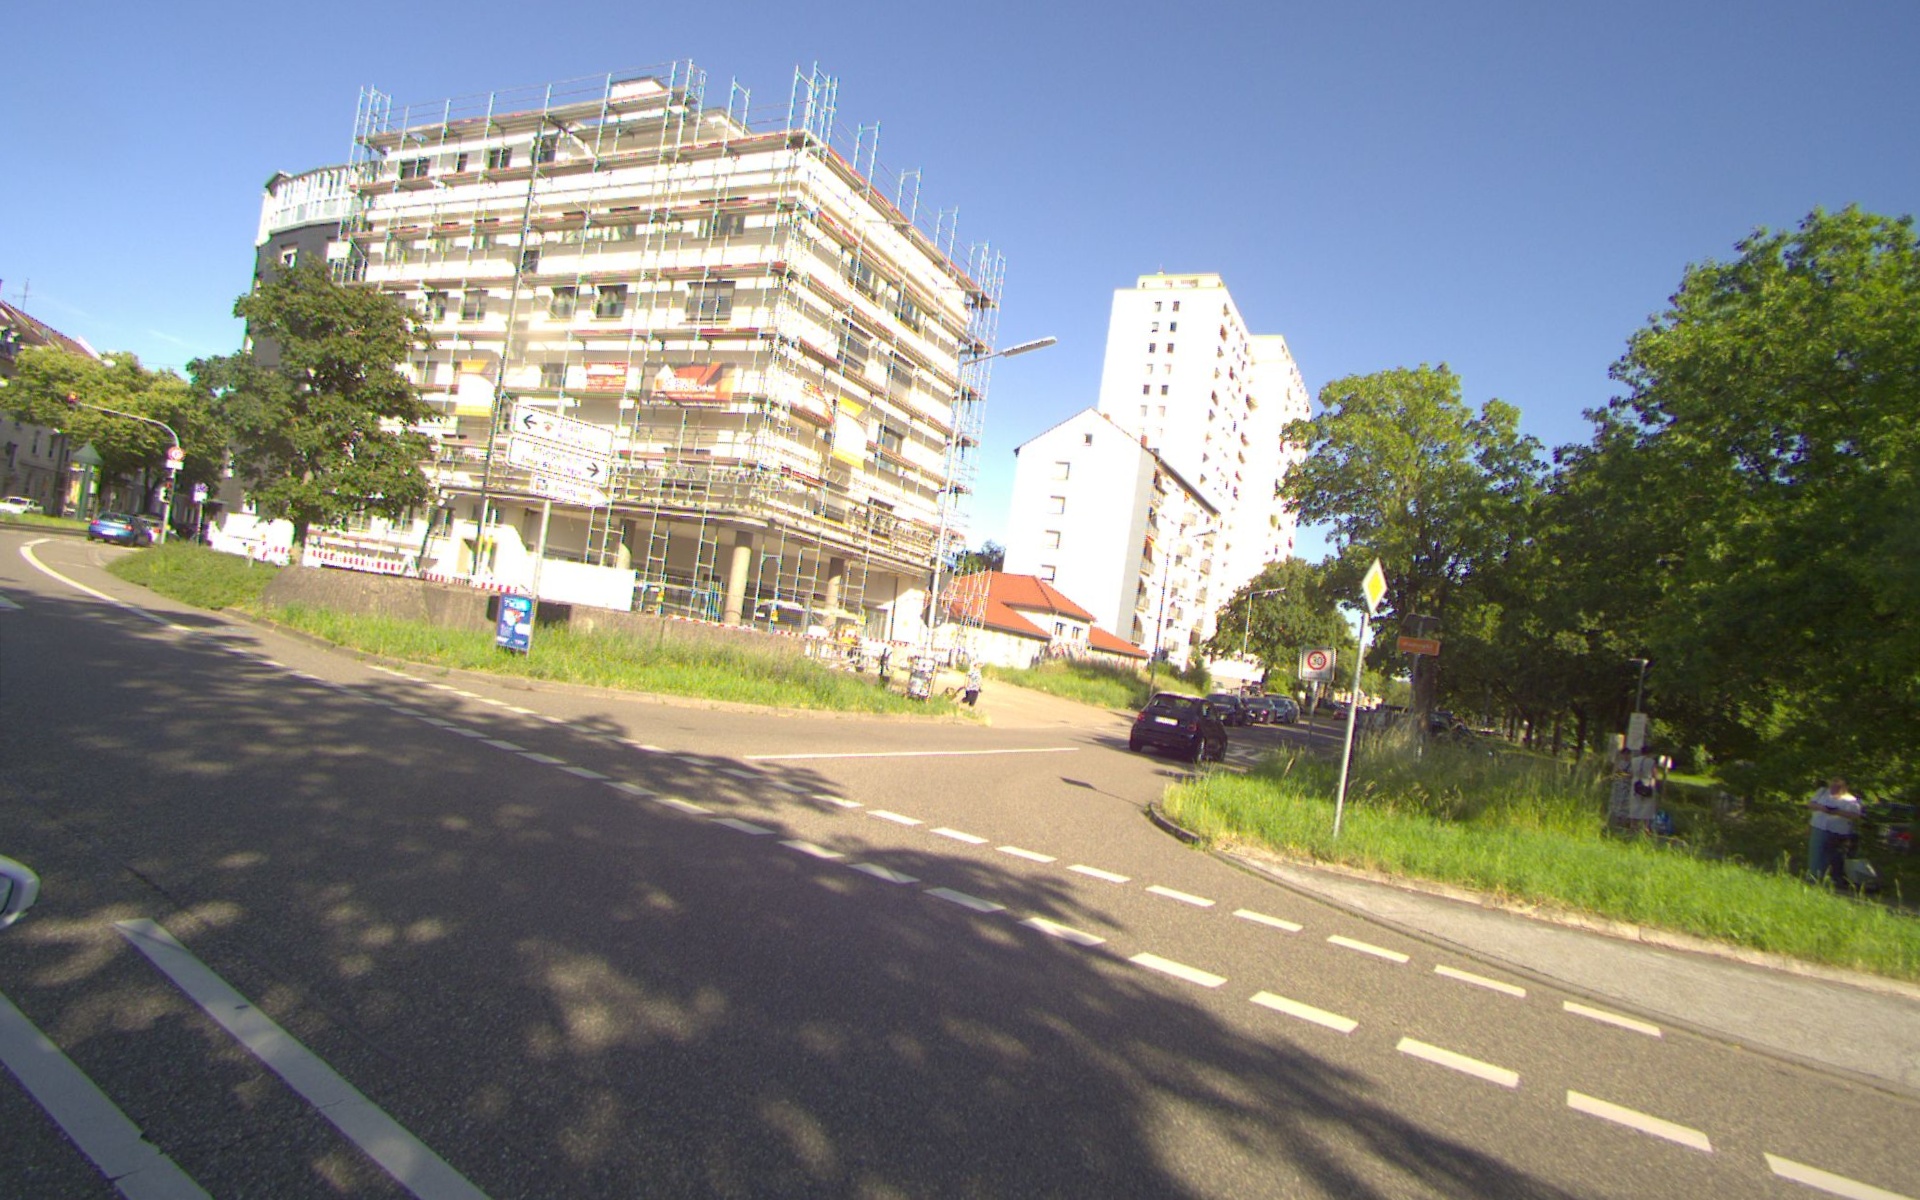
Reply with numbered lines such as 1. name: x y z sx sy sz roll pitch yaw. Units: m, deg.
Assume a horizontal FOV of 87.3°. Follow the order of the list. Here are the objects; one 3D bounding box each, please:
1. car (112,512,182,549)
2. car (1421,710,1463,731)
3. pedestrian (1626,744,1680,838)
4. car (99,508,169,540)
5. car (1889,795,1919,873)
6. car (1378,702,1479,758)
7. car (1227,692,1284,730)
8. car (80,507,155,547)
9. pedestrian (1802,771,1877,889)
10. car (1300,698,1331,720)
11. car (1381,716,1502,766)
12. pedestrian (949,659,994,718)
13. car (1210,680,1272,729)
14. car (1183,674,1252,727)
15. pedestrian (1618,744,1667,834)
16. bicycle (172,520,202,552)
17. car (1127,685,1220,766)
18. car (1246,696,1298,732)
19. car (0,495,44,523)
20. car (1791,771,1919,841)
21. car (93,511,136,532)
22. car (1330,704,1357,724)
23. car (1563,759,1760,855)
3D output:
1. car: -41.895 -3.547 51.957 1.805 1.525 3.974 9 -2 -26
2. car: 52.520 13.135 109.657 3.930 1.673 2.001 6 -4 27
3. pedestrian: 13.001 3.558 18.885 0.557 1.637 0.706 7 -3 24
4. car: -59.838 -5.478 72.907 3.925 1.612 1.913 8 -2 17
5. car: 22.109 5.252 20.061 4.809 1.554 1.999 10 -3 33
6. car: 24.154 6.698 51.912 4.281 2.096 1.998 7 -2 33
7. car: 16.150 6.078 54.883 1.966 1.679 4.001 6 -5 29
8. car: -39.742 -3.398 47.546 1.762 1.458 3.594 10 -2 -27
9. pedestrian: 12.740 3.313 14.593 0.603 1.535 0.528 7 -2 33
10. car: 33.450 10.258 94.673 1.966 1.679 4.001 6 -5 29
11. car: 19.169 5.623 40.127 3.940 1.311 1.996 5 -5 38
12. pedestrian: 0.327 2.475 28.068 0.892 1.514 0.652 8 -2 22
13. car: 14.279 5.329 50.991 1.966 2.034 4.001 6 -4 29
14. car: 11.866 4.658 46.181 1.965 2.036 4.000 7 -3 28
15. pedestrian: 13.358 3.674 19.702 0.557 1.637 0.600 7 -3 24
16. bicycle: -41.536 -3.425 54.073 0.568 1.528 2.790 9 -2 -26
17. car: 5.170 2.938 24.039 1.648 1.519 3.567 8 -2 18
18. car: 18.466 6.764 59.428 1.966 1.679 4.001 6 -5 29
19. car: -63.749 -6.194 67.856 1.775 1.499 3.512 9 -2 -25
20. car: 23.338 5.301 26.192 1.594 1.288 3.654 5 -4 24
21. car: -77.855 -7.189 92.711 1.977 1.411 3.975 10 -3 -26
22. car: 40.453 12.060 106.014 1.966 1.679 4.001 6 -5 29
23. car: 18.090 5.297 26.164 3.936 1.624 1.999 6 -4 34
